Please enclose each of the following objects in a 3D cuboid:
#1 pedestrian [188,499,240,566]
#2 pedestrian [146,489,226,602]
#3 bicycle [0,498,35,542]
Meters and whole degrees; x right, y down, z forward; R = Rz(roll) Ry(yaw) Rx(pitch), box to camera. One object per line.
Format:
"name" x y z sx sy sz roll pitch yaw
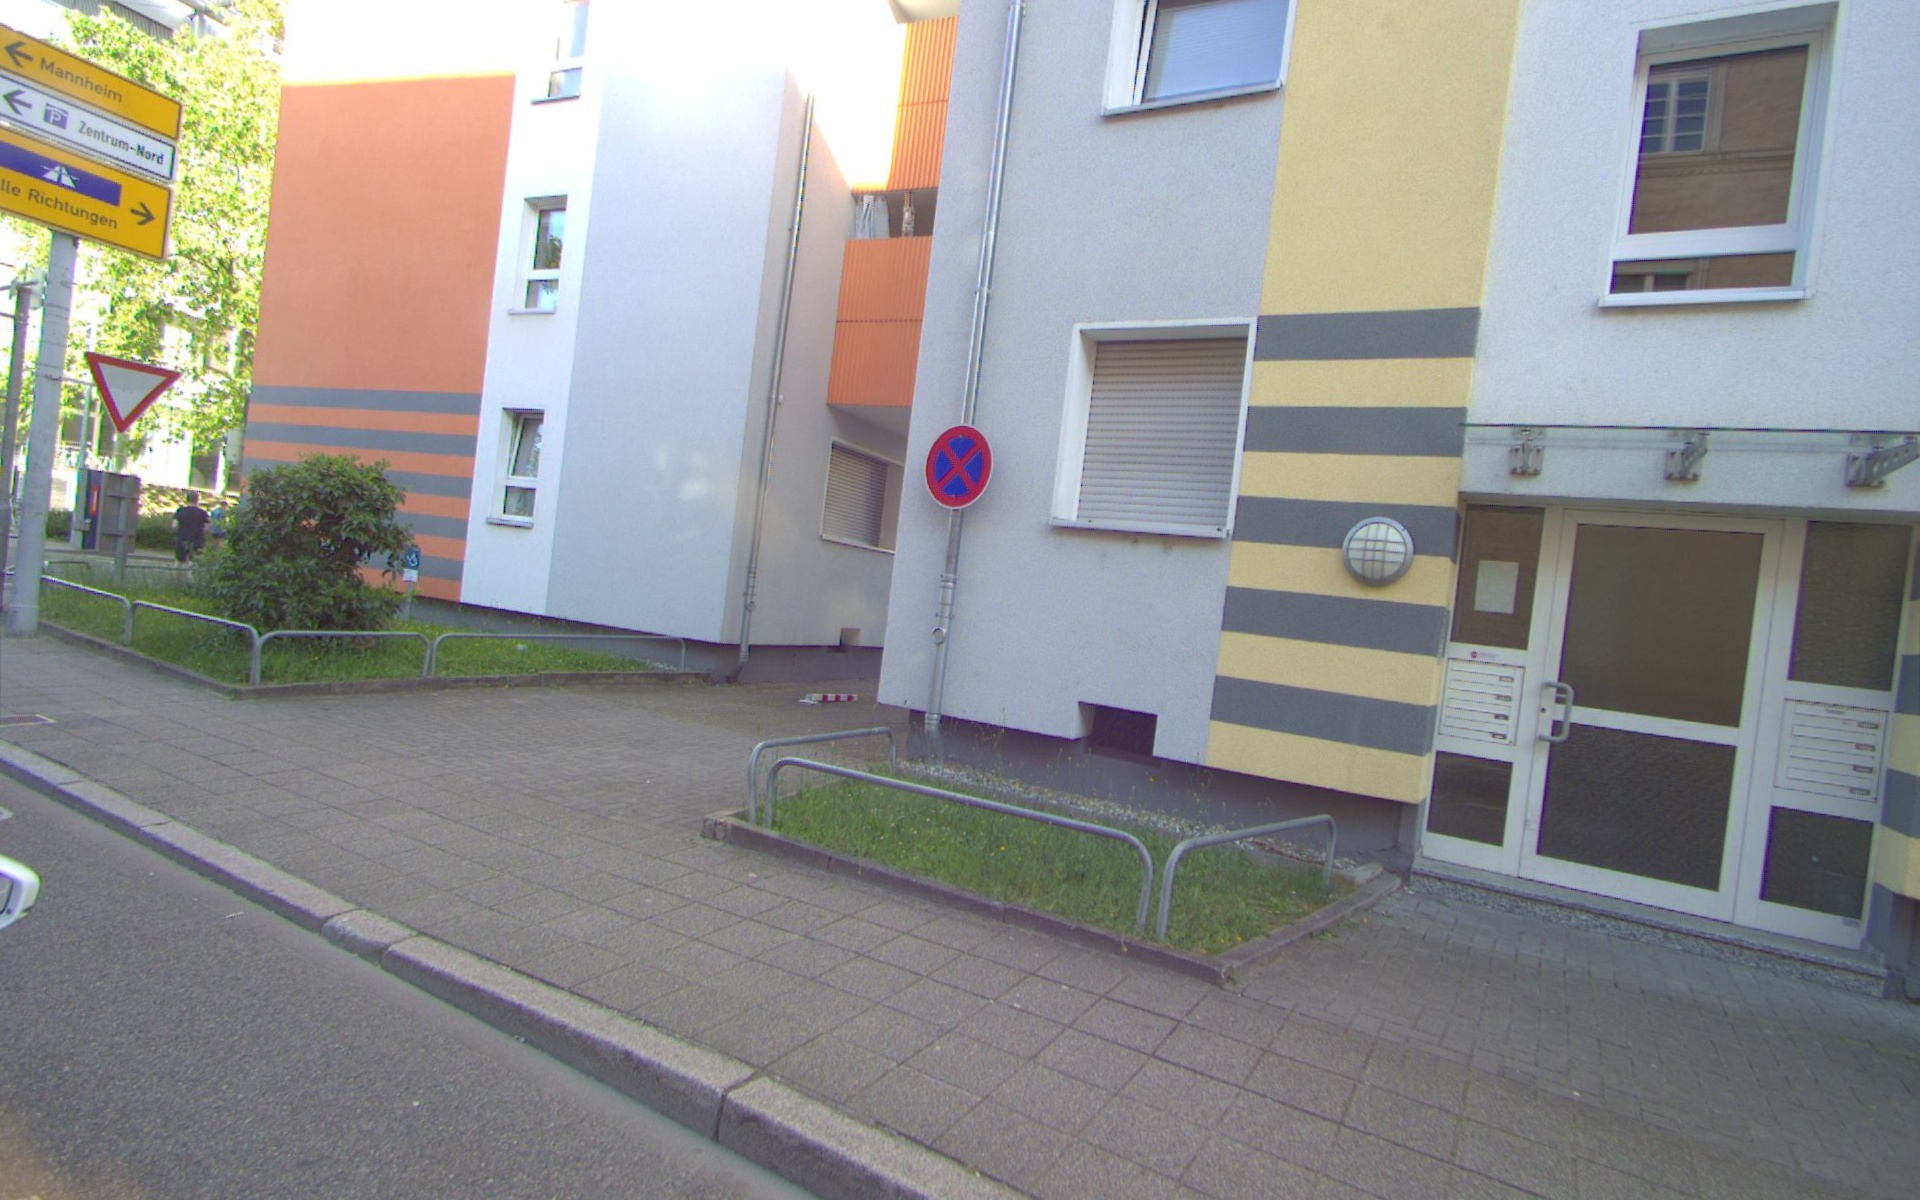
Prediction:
"pedestrian" -22.512 -2.028 30.373 0.696 1.861 0.837 8 -1 22
"pedestrian" -13.802 -0.961 17.945 0.823 1.861 0.708 8 0 32
"bicycle" -26.281 -2.236 27.348 1.658 1.063 0.508 9 2 -3
